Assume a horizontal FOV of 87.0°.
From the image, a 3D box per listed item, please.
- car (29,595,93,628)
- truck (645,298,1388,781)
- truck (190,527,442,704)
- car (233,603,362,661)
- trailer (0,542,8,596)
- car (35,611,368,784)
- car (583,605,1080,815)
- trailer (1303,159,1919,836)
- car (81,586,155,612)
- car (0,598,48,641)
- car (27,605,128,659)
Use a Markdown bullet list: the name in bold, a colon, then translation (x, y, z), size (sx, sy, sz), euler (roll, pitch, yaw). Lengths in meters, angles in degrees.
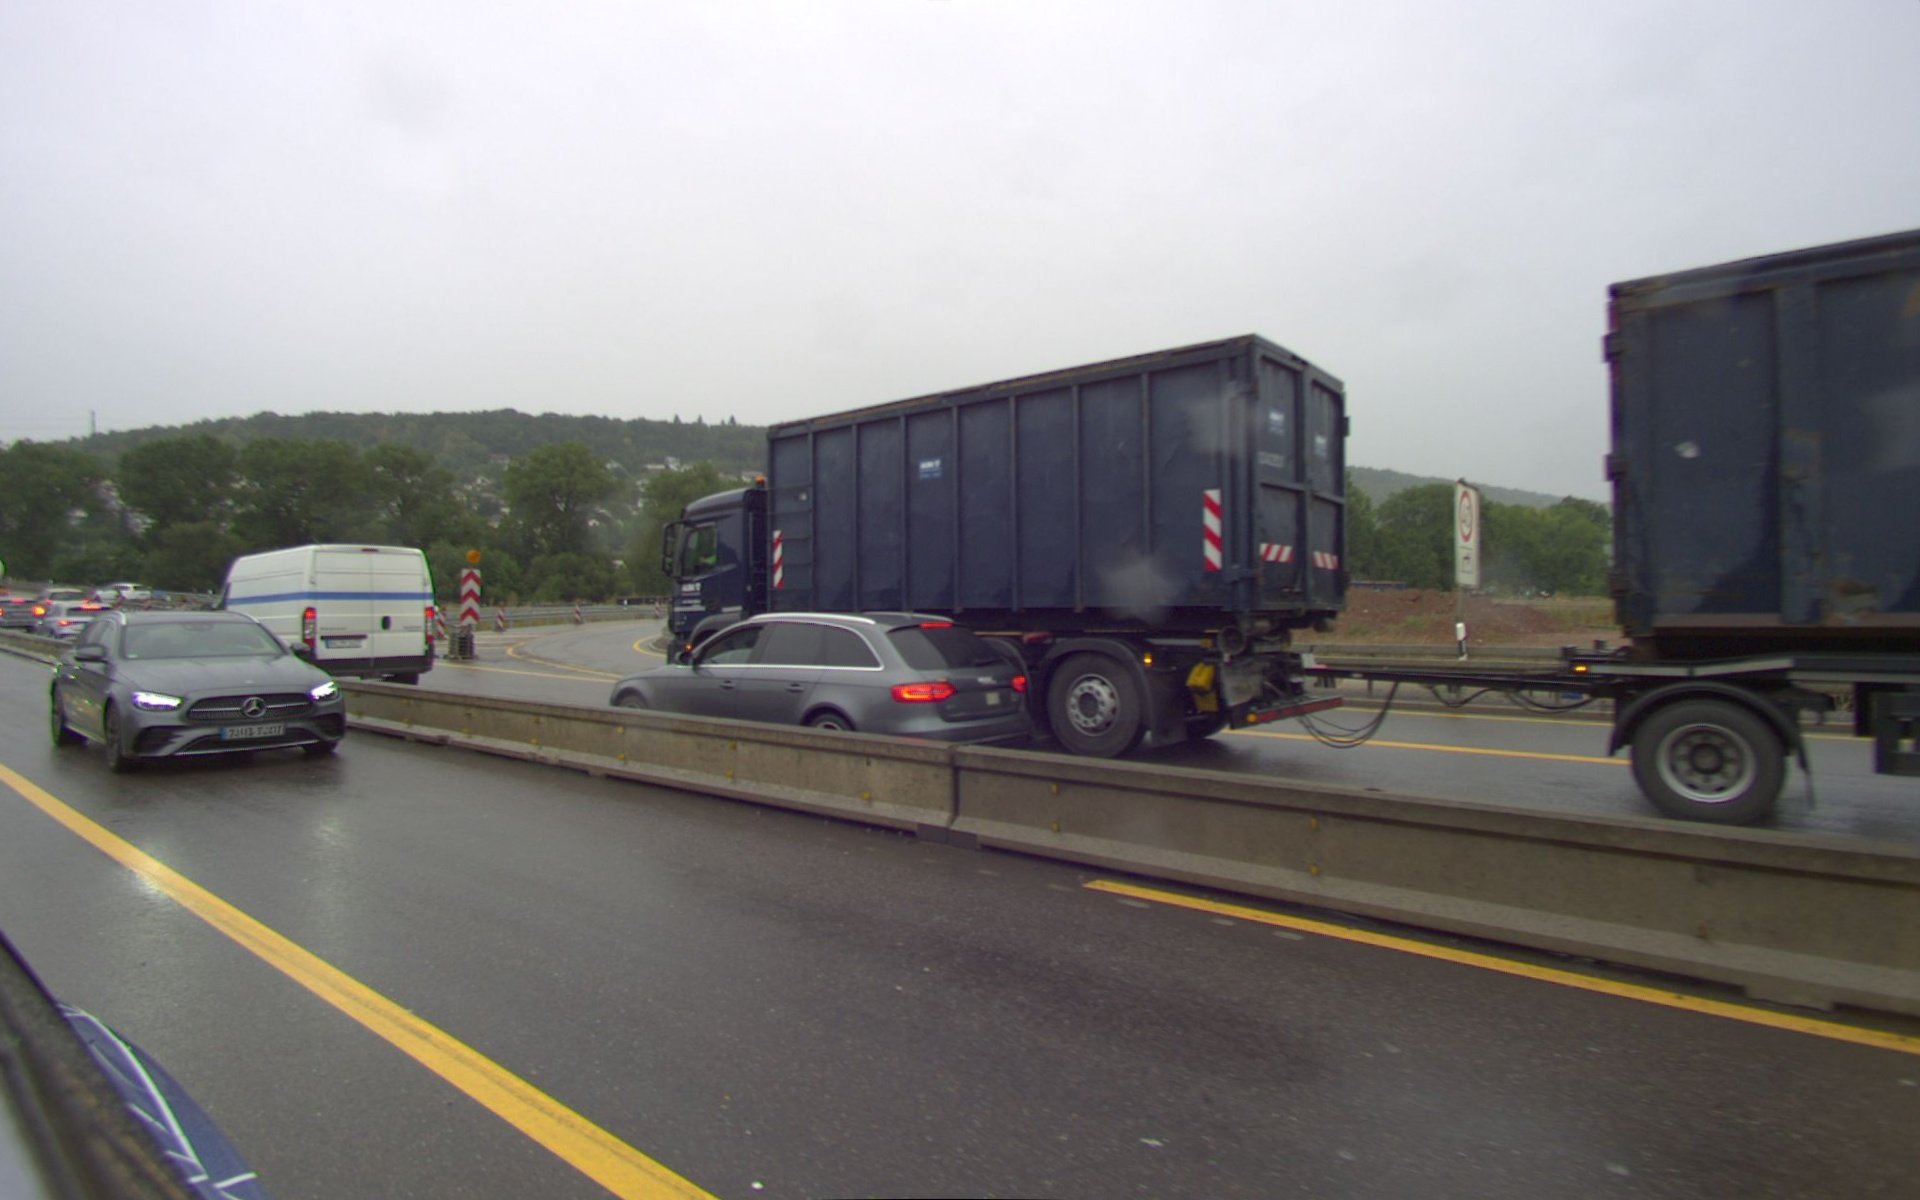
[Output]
- **car**: translation (-43.992, 0.527, 49.511), size (3.996, 1.558, 1.770), euler (1, 0, 39)
- **truck**: translation (-0.010, -0.426, 12.294), size (9.202, 4.000, 2.616), euler (-1, -1, 39)
- **truck**: translation (-11.850, 0.255, 18.415), size (6.010, 2.734, 2.126), euler (0, 0, 39)
- **car**: translation (-18.809, 0.863, 28.687), size (3.866, 1.535, 1.711), euler (0, -1, 34)
- **trailer**: translation (-70.949, -2.236, 72.432), size (11.992, 3.705, 2.594), euler (2, 1, 39)
- **car**: translation (-8.187, 0.865, 10.765), size (4.480, 1.449, 1.927), euler (-1, -1, 41)
- **car**: translation (-1.370, 0.808, 9.347), size (4.665, 1.482, 1.850), euler (-1, -1, 39)
- **trailer**: translation (7.430, -0.625, 6.293), size (9.663, 4.000, 2.719), euler (-1, -1, 39)
- **car**: translation (-61.435, -0.079, 73.848), size (5.005, 1.713, 1.839), euler (1, 1, 19)
- **car**: translation (-37.218, 0.735, 39.508), size (4.308, 1.550, 1.769), euler (1, 0, 40)
- **car**: translation (-27.099, 0.932, 31.031), size (4.341, 1.535, 1.660), euler (0, -1, 40)
